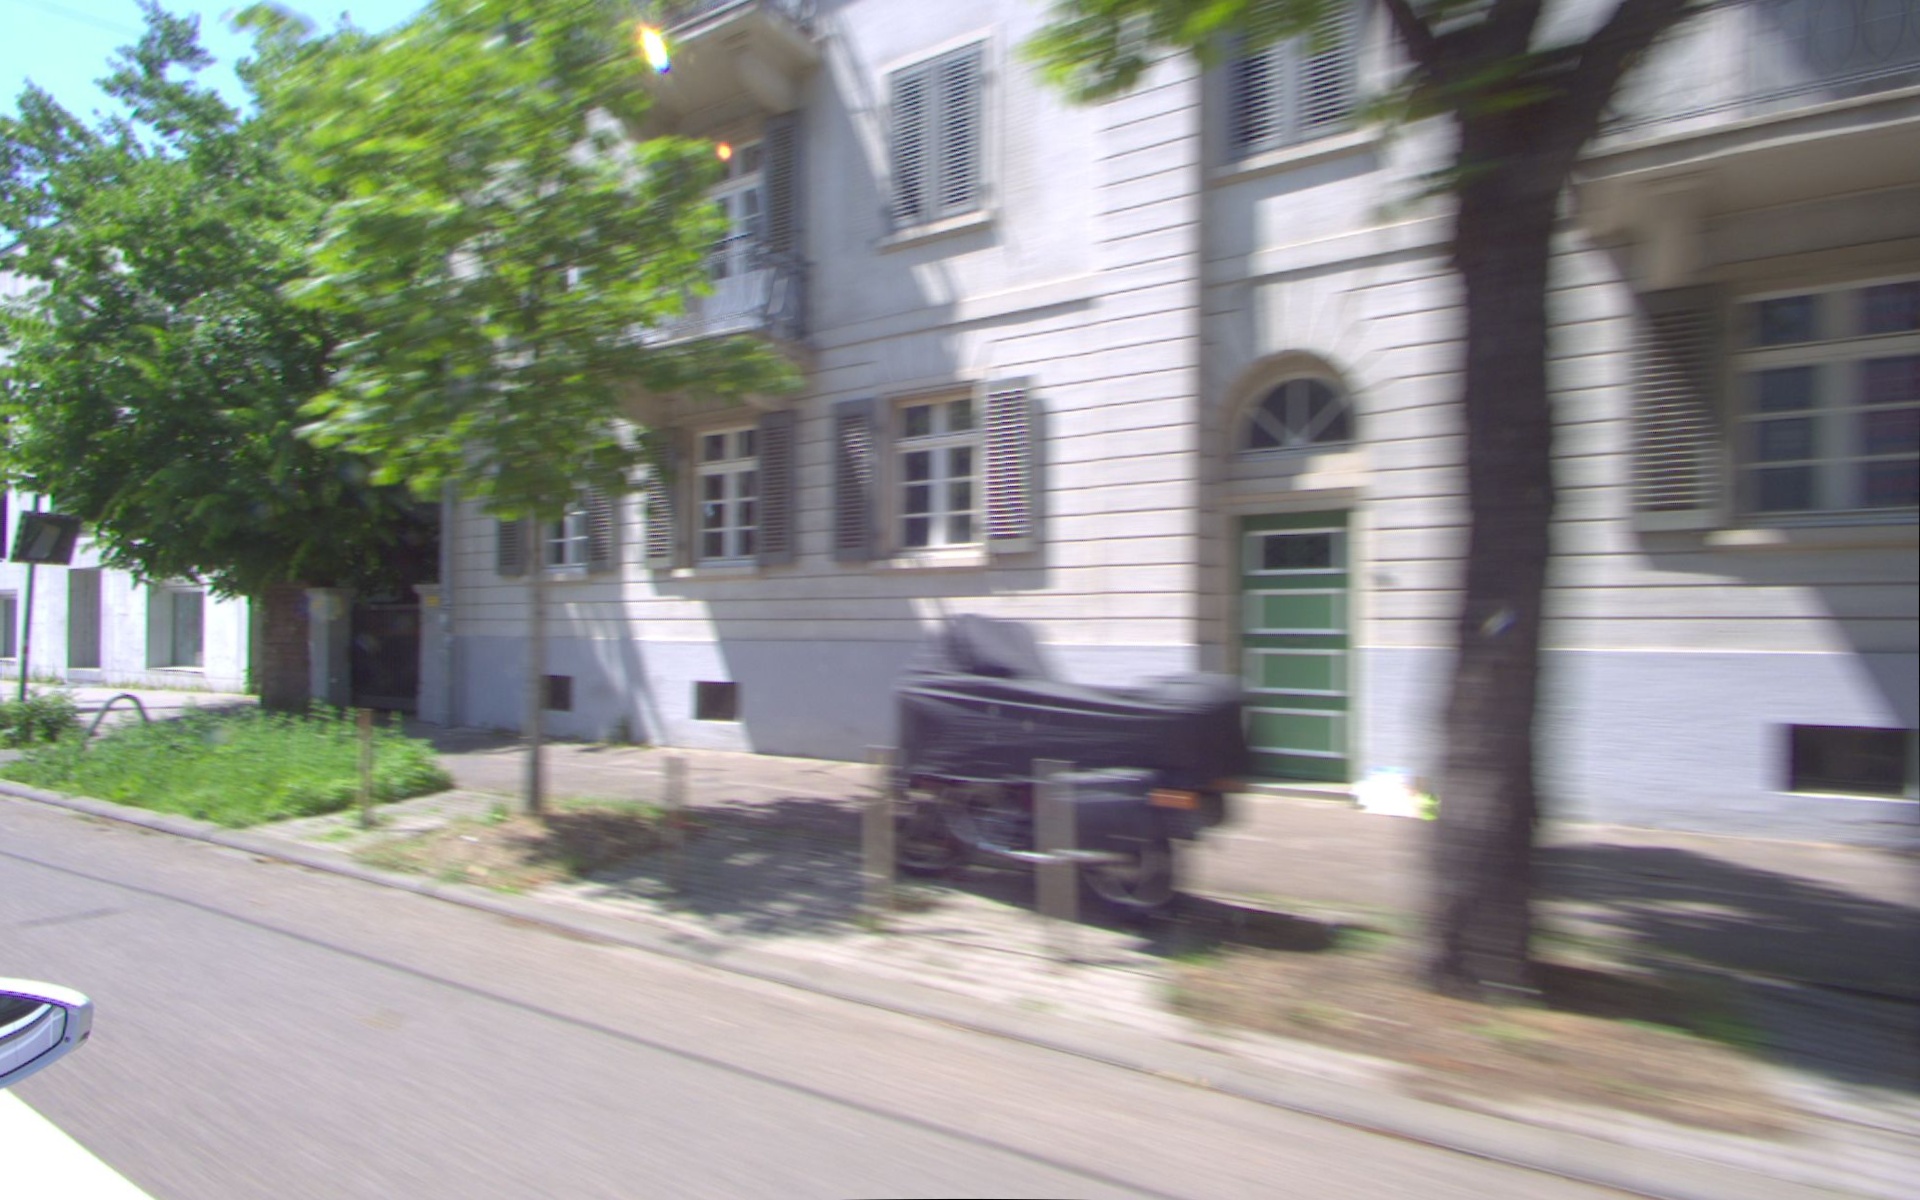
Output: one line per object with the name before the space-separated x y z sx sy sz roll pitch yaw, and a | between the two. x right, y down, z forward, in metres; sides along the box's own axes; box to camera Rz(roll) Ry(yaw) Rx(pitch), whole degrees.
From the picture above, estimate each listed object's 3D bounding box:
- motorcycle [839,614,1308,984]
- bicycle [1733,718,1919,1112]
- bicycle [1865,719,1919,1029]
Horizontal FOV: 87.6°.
motorcycle | 0.458 0.846 5.282 2.531 1.525 0.741 -1 -1 44
bicycle | 3.147 0.995 3.623 0.366 1.028 1.655 -2 -3 32
bicycle | 3.486 0.977 3.372 0.366 1.028 1.655 0 -2 32
